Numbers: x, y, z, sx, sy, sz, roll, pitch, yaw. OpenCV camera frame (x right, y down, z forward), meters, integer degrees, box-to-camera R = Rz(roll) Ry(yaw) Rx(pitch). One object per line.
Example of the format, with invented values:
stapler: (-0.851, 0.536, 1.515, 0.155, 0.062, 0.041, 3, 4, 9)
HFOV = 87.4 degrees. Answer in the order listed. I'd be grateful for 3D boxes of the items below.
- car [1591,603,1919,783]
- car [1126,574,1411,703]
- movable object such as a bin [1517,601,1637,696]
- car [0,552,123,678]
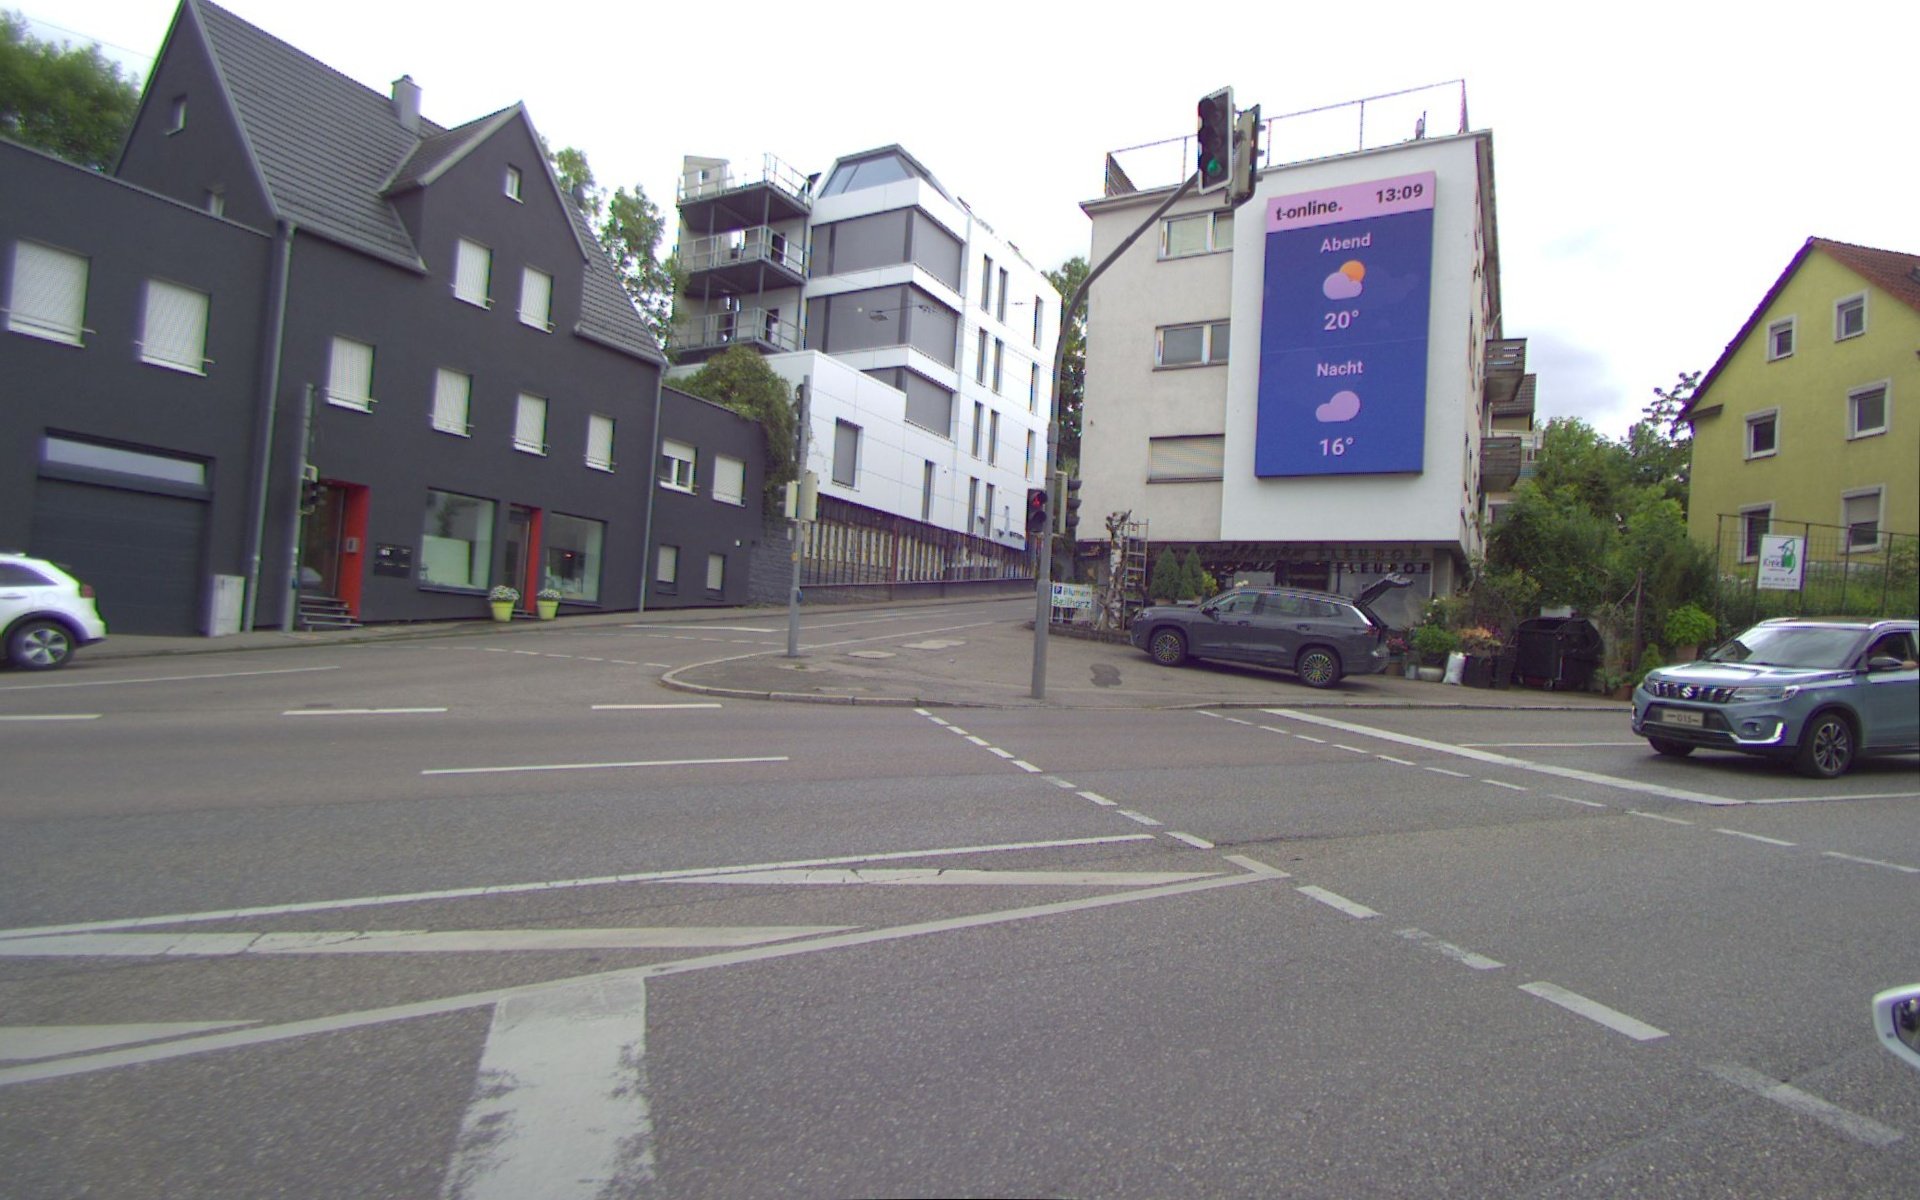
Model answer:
car: (9.496, 0.943, 11.138, 4.277, 1.718, 1.895, 1, 0, -17)
car: (5.774, 0.590, 18.930, 4.620, 1.736, 2.313, 7, 5, 30)
movable object such as a bin: (12.632, 0.954, 20.557, 1.743, 1.803, 1.844, 2, 0, 43)
car: (-13.380, 0.191, 12.357, 1.856, 1.589, 4.377, 2, 2, 32)
